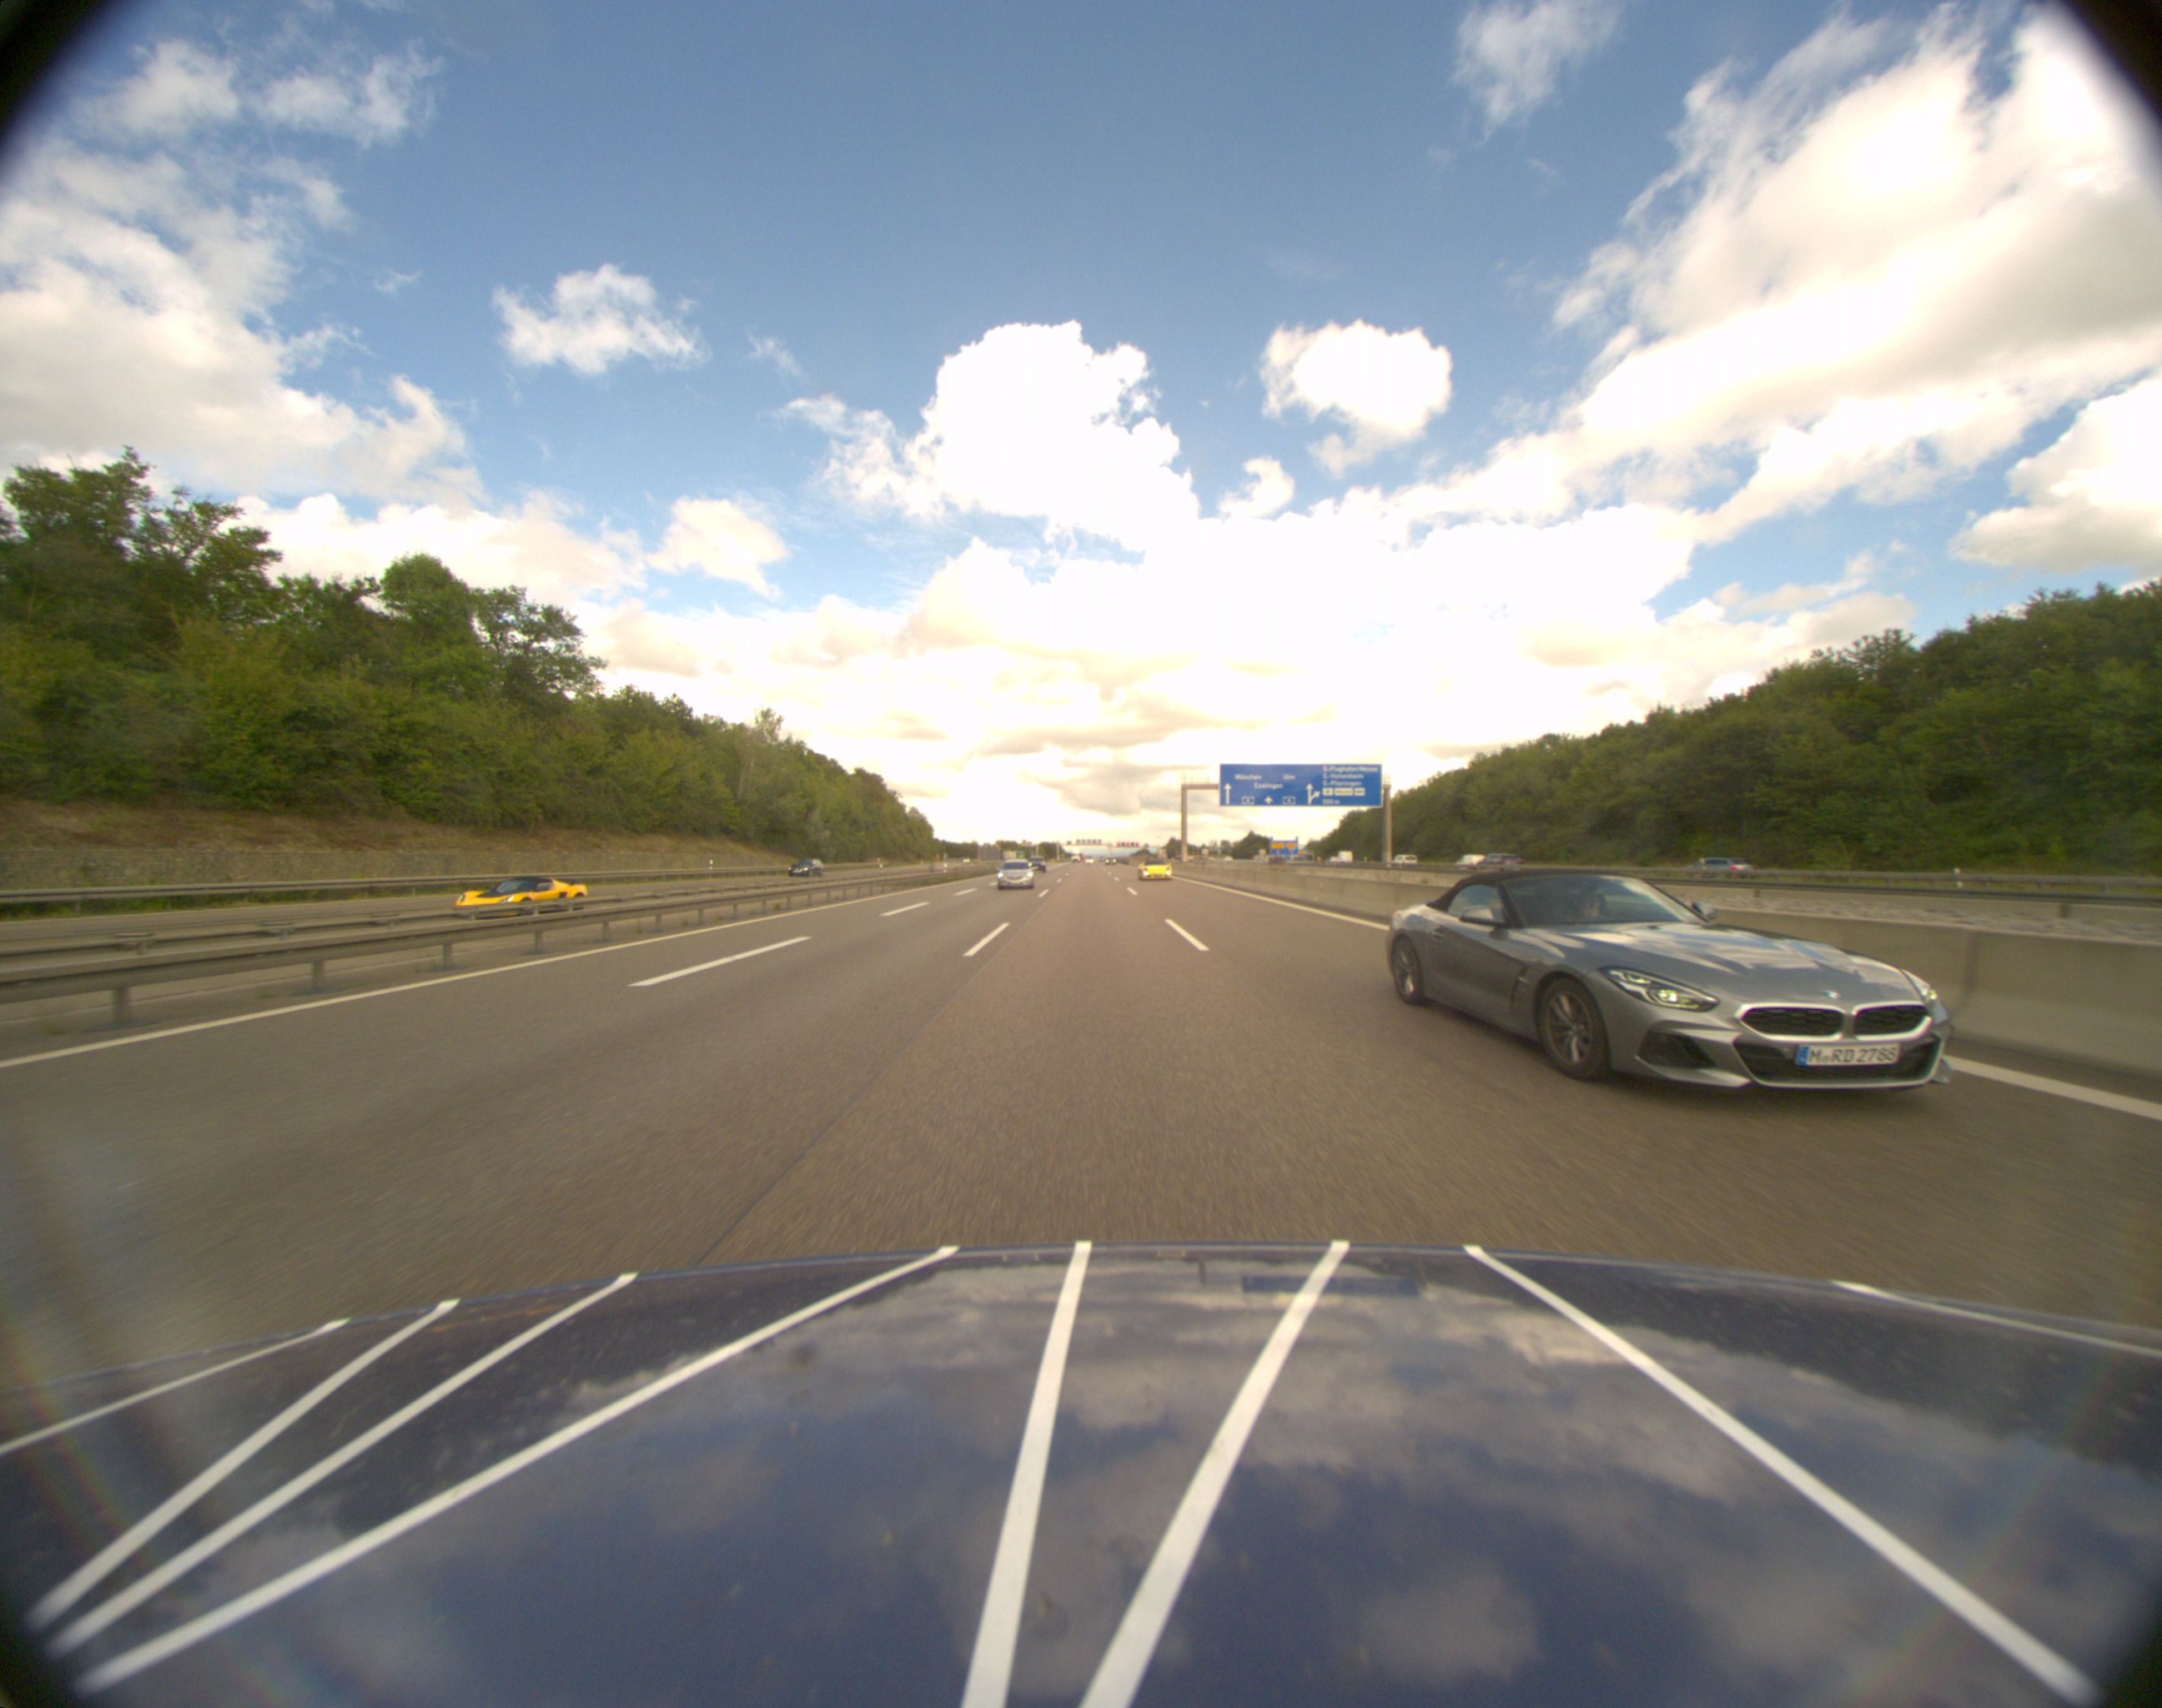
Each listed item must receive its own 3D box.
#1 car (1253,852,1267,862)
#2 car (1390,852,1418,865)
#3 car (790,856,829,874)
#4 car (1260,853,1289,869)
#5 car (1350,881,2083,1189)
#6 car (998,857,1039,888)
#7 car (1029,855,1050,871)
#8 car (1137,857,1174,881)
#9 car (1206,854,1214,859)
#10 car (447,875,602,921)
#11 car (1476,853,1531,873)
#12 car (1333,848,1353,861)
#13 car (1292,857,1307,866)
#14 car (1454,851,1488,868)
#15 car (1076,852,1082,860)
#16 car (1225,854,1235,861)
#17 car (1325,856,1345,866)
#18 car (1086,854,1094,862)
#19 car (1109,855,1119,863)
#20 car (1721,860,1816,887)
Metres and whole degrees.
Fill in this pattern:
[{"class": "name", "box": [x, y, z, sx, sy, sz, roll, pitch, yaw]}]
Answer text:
[{"class": "car", "box": [39.492, 0.641, 168.034, 1.998, 2.002, 4.344, -2, 0, 0]}, {"class": "car", "box": [43.934, 0.608, 103.508, 1.739, 1.624, 4.947, 0, 0, 0]}, {"class": "car", "box": [-22.782, 0.915, 63.839, 1.716, 1.407, 4.169, 0, 0, 1]}, {"class": "car", "box": [21.607, 0.729, 85.124, 1.839, 1.775, 5.503, 0, 0, 0]}, {"class": "car", "box": [3.991, 0.980, 6.197, 1.878, 1.295, 4.942, -1, 0, 0]}, {"class": "car", "box": [-3.158, 0.911, 39.115, 1.687, 1.476, 4.615, -1, 0, 0]}, {"class": "car", "box": [-4.386, 0.918, 81.131, 1.876, 1.626, 4.859, -1, 0, 1]}, {"class": "car", "box": [4.544, 0.895, 46.846, 1.811, 1.307, 4.247, 1, 0, 0]}, {"class": "car", "box": [39.888, 0.783, 234.918, 1.647, 1.307, 4.247, 0, 0, 0]}, {"class": "car", "box": [-17.088, 1.296, 23.607, 1.716, 1.175, 4.168, -1, 0, 0]}, {"class": "car", "box": [34.989, 0.730, 63.082, 1.998, 1.583, 4.768, 0, 0, 1]}, {"class": "car", "box": [48.099, 0.159, 139.626, 1.998, 2.301, 5.685, 0, 0, 2]}, {"class": "car", "box": [39.886, 1.344, 138.670, 1.662, 1.637, 4.000, 0, 0, 0]}, {"class": "car", "box": [42.815, 0.596, 83.486, 1.596, 1.747, 4.282, 0, 0, 0]}, {"class": "car", "box": [-0.628, 0.610, 241.450, 1.854, 2.565, 5.412, 0, 0, 0]}, {"class": "car", "box": [36.981, 0.877, 188.344, 1.680, 1.508, 4.369, 0, 0, 2]}, {"class": "car", "box": [38.781, 1.097, 116.090, 1.662, 1.435, 4.323, 0, 0, 0]}, {"class": "car", "box": [1.910, 0.897, 162.386, 1.736, 1.608, 4.000, 0, 0, 1]}, {"class": "car", "box": [6.087, 0.865, 139.157, 1.593, 1.307, 3.978, 1, 0, 0]}, {"class": "car", "box": [41.382, 1.124, 45.891, 1.596, 1.486, 4.509, 0, 0, 0]}]
